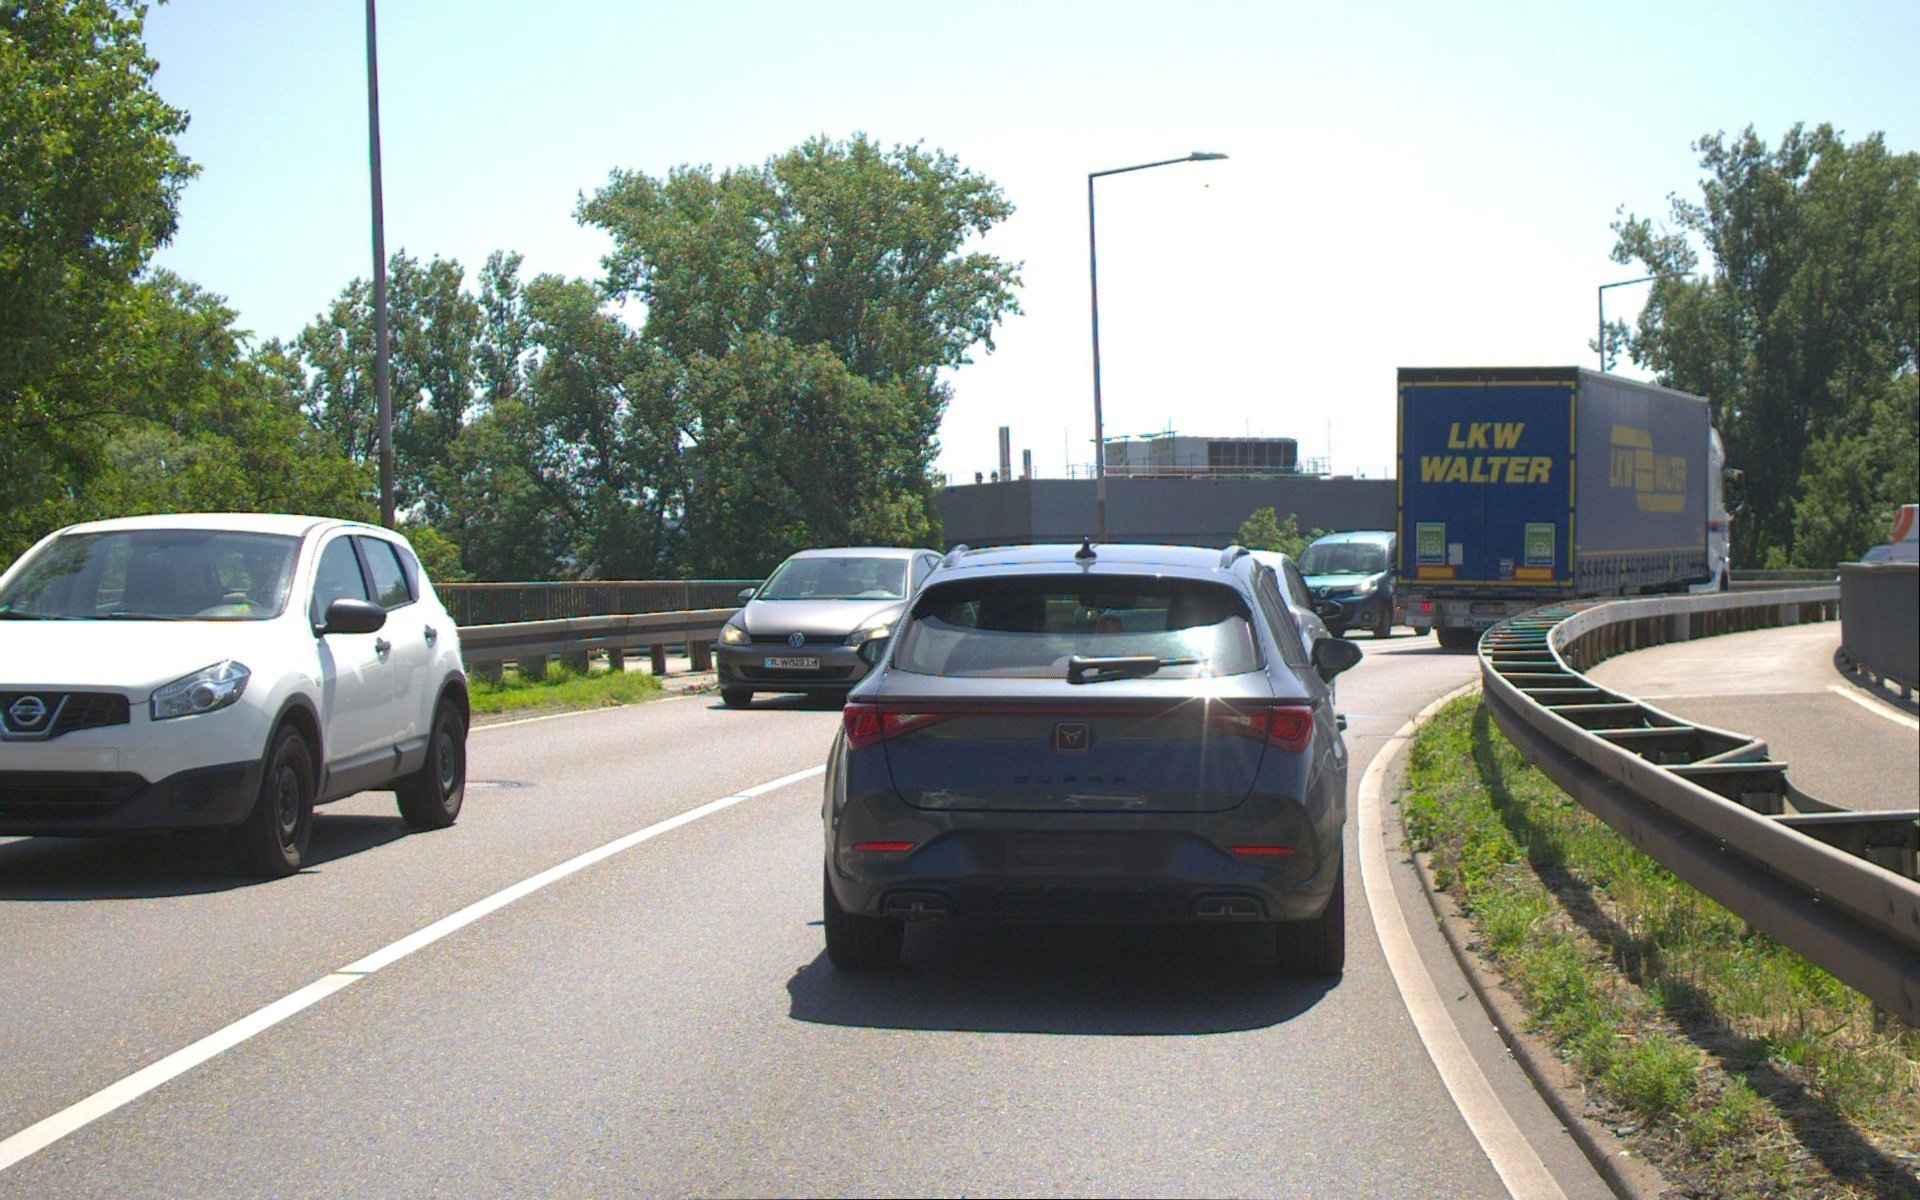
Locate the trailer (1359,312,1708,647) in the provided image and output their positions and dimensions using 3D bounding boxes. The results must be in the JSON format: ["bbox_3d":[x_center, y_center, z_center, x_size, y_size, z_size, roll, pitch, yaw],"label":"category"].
[{"bbox_3d":[9.260,-1.740,53.782,3.137,4.598,12.935,2,1,19],"label":"trailer"}]

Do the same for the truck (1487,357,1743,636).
[{"bbox_3d":[11.634,-1.734,60.502,3.173,4.569,7.389,1,0,20],"label":"truck"}]

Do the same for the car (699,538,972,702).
[{"bbox_3d":[-1.085,0.132,32.072,1.717,1.423,4.106,0,1,10],"label":"car"}]

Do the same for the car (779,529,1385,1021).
[{"bbox_3d":[0.440,0.498,12.417,1.845,1.493,3.758,0,1,2],"label":"car"}]

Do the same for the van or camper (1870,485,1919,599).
[{"bbox_3d":[24.282,-1.409,83.892,2.207,2.702,5.914,1,1,34],"label":"van or camper"}]

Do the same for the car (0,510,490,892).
[{"bbox_3d":[-3.594,0.367,16.186,1.746,1.541,4.392,1,1,6],"label":"car"}]

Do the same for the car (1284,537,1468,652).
[{"bbox_3d":[7.090,-0.112,58.226,1.759,1.848,4.269,1,1,26],"label":"car"}]

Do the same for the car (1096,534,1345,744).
[{"bbox_3d":[2.056,0.256,26.375,1.593,1.456,3.543,2,1,9],"label":"car"}]
